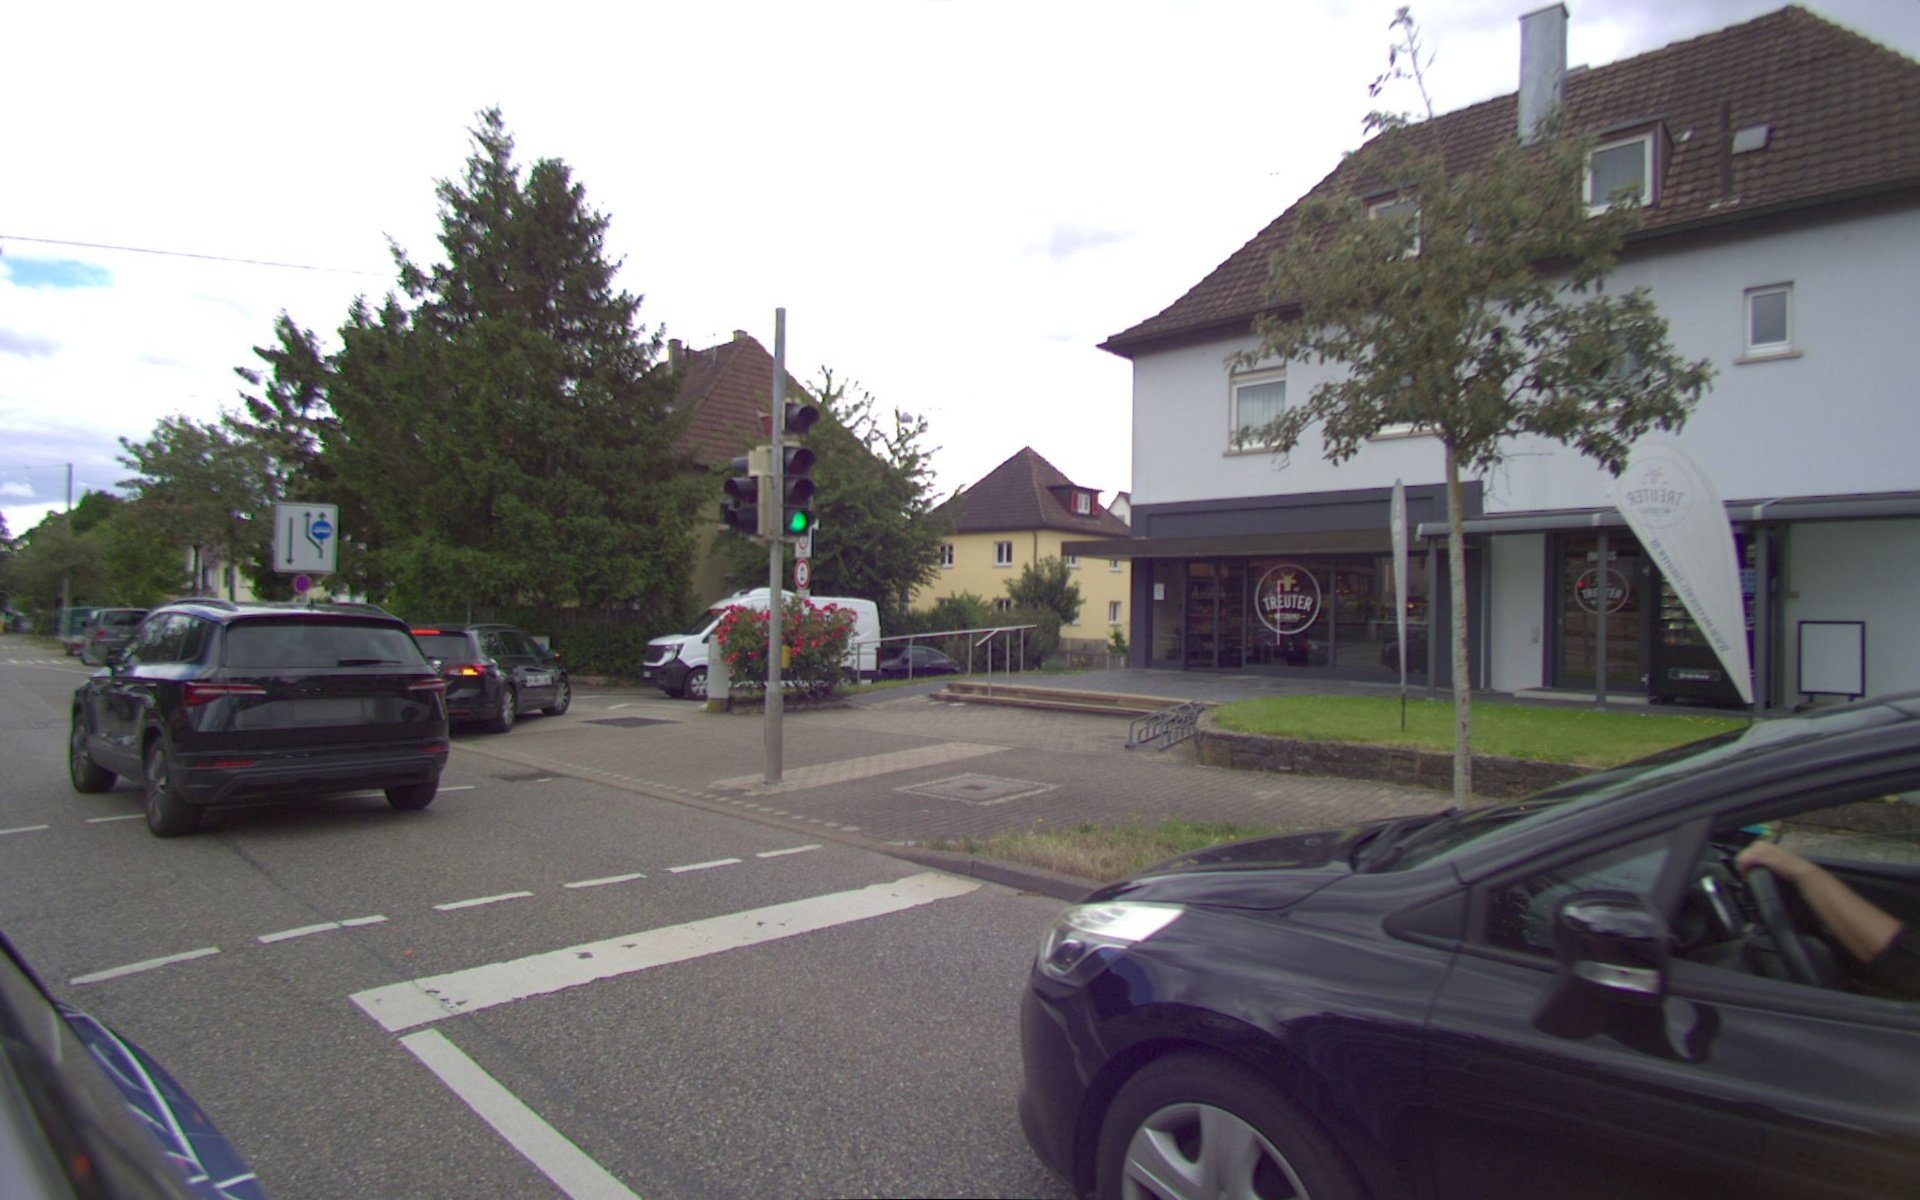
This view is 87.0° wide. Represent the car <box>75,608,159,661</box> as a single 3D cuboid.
[{"bbox_3d":[-33.241,1.338,39.848,4.899,1.964,1.971,-1,-3,44],"label":"car"}]

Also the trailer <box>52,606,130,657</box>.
[{"bbox_3d":[-38.376,1.382,44.658,4.426,2.104,2.131,-2,-3,43],"label":"trailer"}]

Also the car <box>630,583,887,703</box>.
[{"bbox_3d":[-4.740,1.092,24.174,5.528,2.583,2.136,4,-3,-33],"label":"car"}]

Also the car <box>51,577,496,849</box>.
[{"bbox_3d":[-5.631,0.788,8.137,3.997,1.637,1.876,-2,-5,40],"label":"car"}]

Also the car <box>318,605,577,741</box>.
[{"bbox_3d":[-7.098,0.953,14.636,1.968,1.633,4.656,0,-2,-9],"label":"car"}]

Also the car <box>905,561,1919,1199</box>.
[{"bbox_3d":[1.885,0.733,1.705,4.000,1.483,1.598,-1,-4,43],"label":"car"}]

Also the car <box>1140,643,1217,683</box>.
[{"bbox_3d":[9.054,2.573,41.822,1.711,1.533,3.408,-1,-3,41],"label":"car"}]

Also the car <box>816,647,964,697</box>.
[{"bbox_3d":[-1.992,2.109,29.469,4.070,1.364,1.799,5,-6,-42],"label":"car"}]
